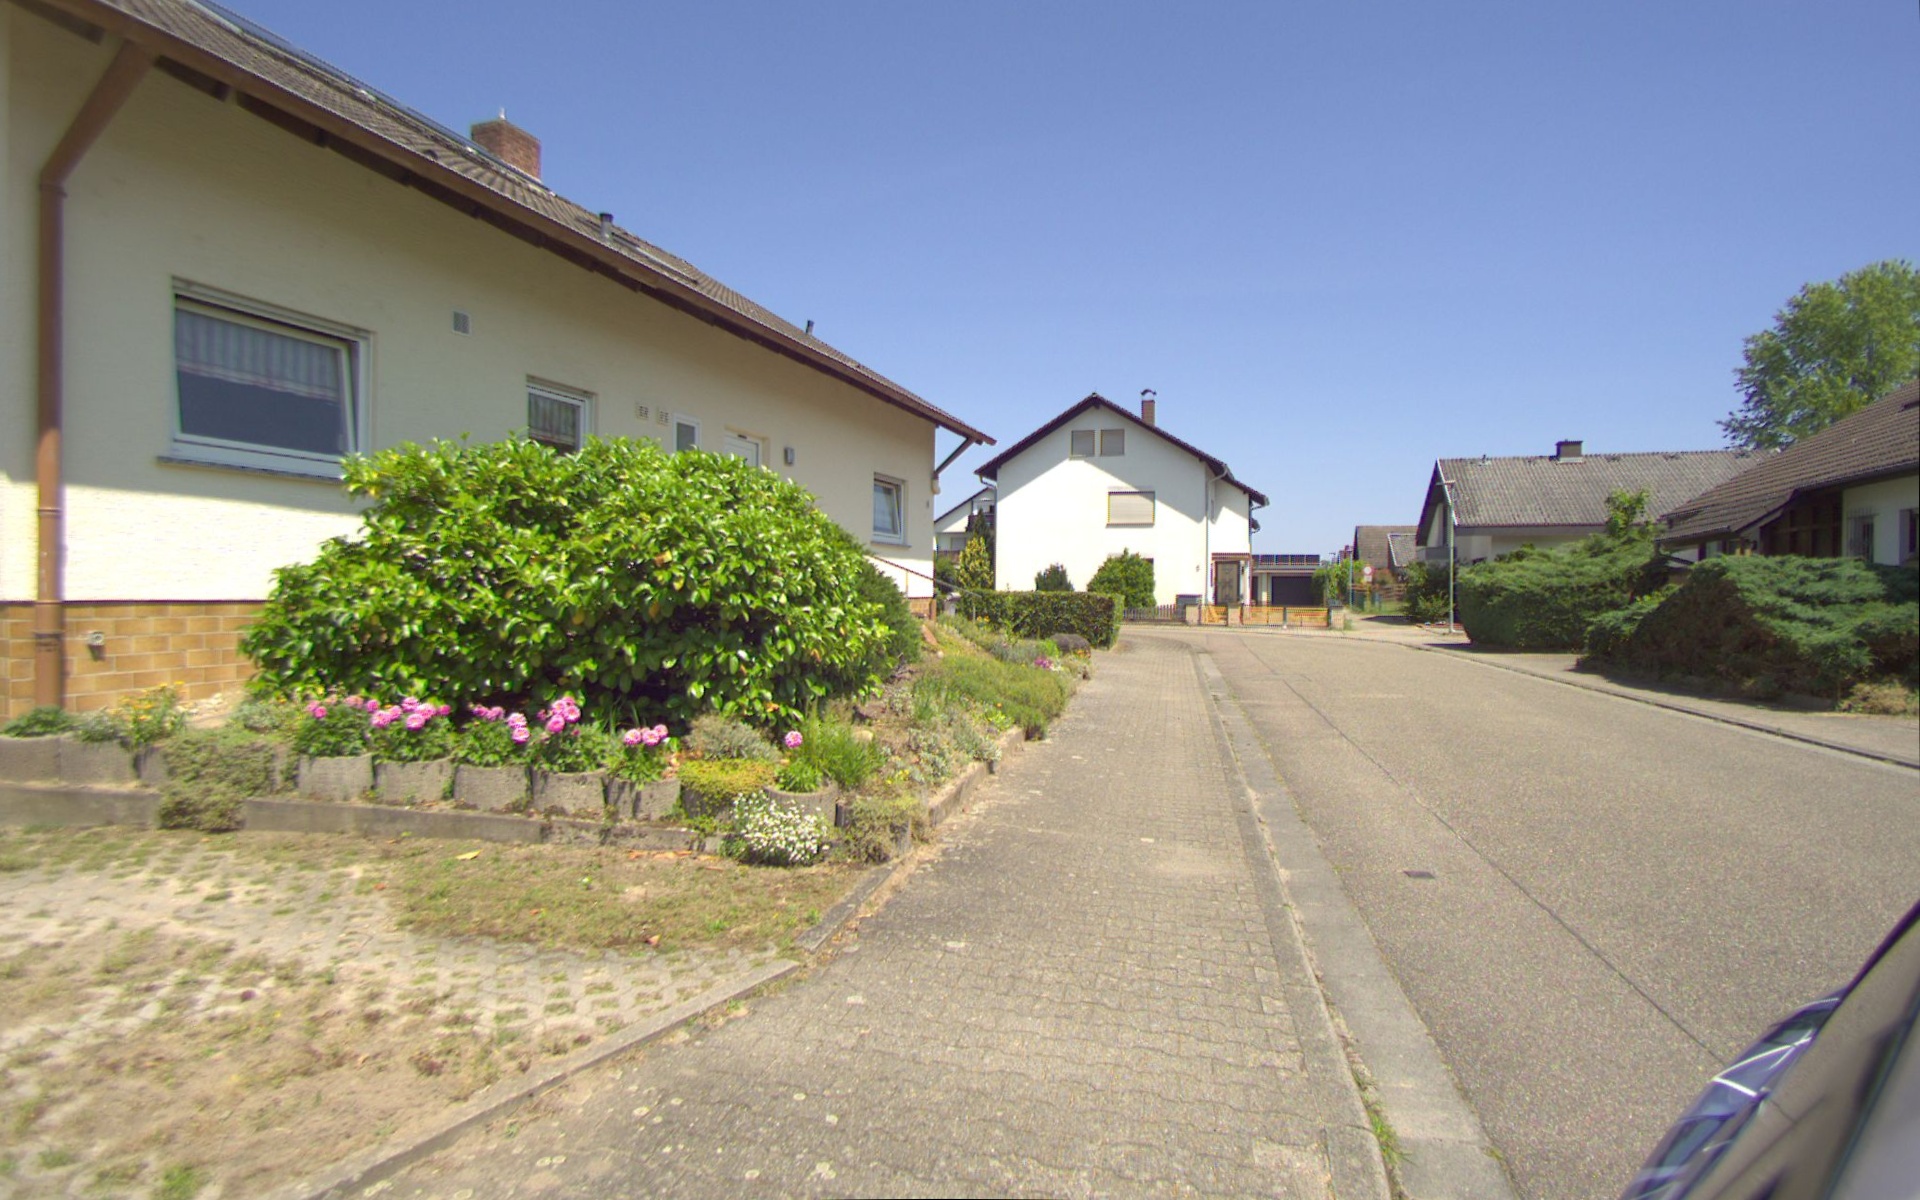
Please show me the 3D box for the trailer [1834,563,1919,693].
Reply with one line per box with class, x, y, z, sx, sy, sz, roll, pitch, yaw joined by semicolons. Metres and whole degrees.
trailer;13.386;0.343;13.413;1.572;1.693;3.276;-1;1;19
